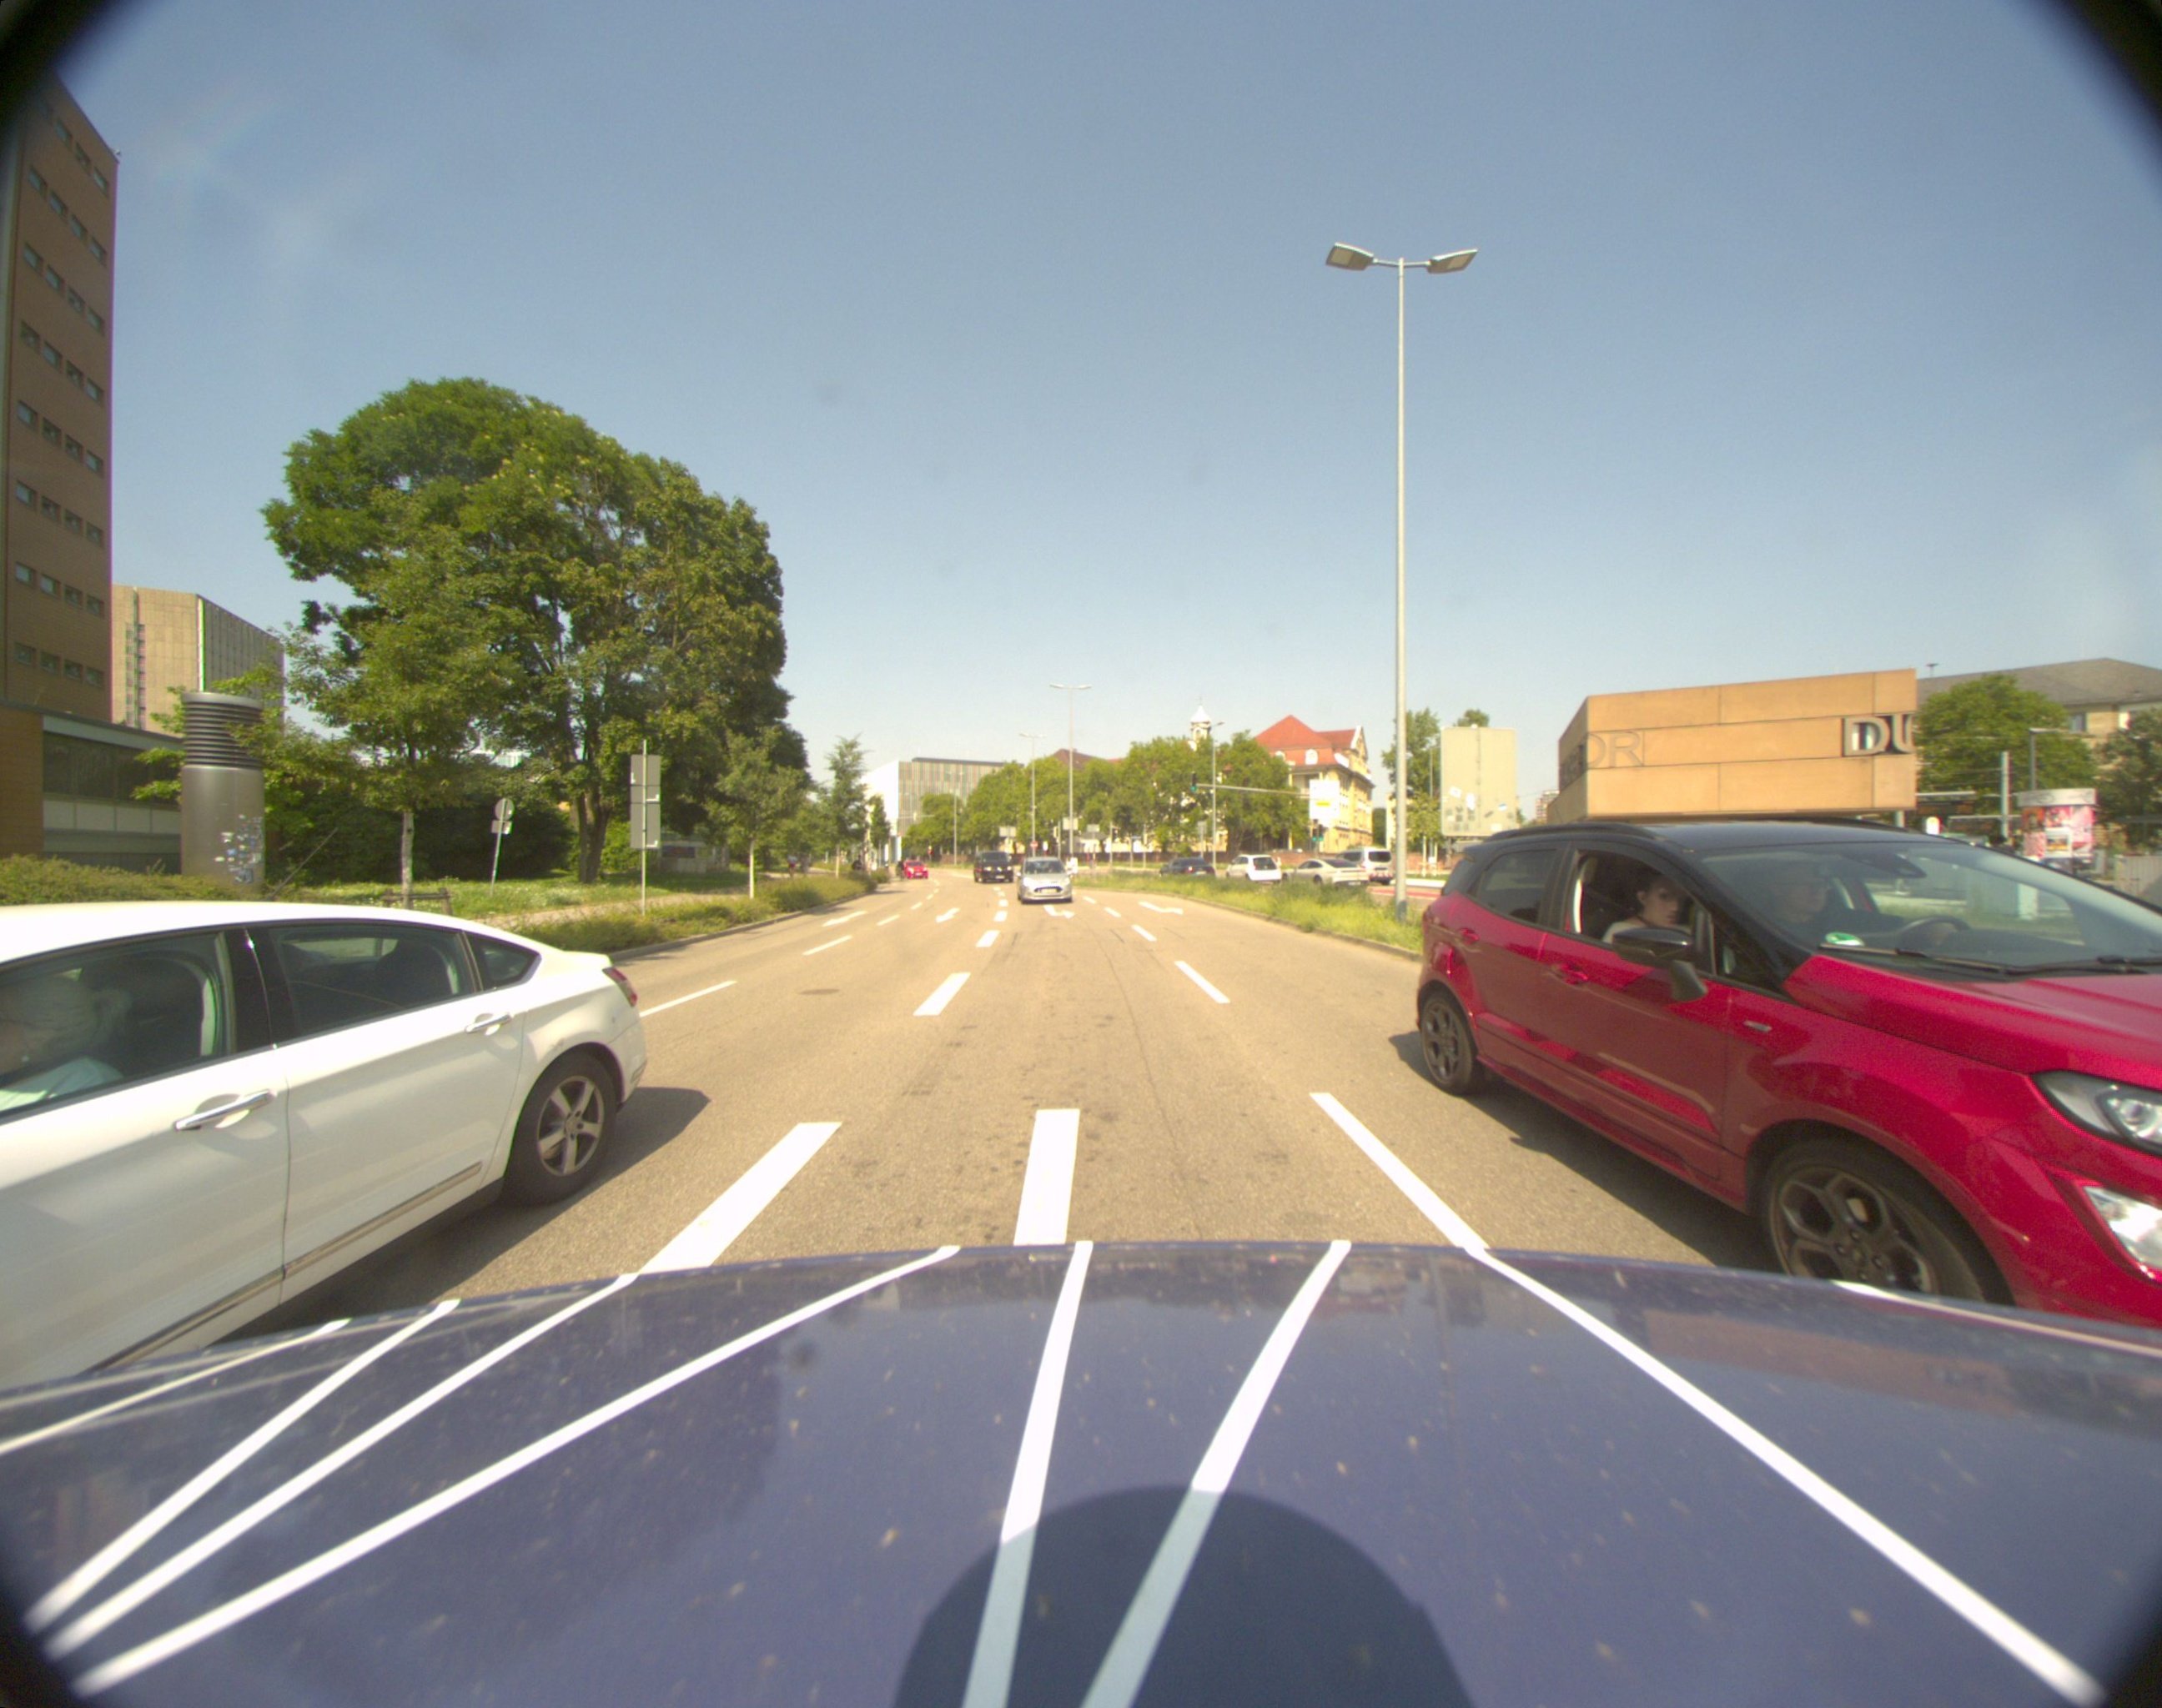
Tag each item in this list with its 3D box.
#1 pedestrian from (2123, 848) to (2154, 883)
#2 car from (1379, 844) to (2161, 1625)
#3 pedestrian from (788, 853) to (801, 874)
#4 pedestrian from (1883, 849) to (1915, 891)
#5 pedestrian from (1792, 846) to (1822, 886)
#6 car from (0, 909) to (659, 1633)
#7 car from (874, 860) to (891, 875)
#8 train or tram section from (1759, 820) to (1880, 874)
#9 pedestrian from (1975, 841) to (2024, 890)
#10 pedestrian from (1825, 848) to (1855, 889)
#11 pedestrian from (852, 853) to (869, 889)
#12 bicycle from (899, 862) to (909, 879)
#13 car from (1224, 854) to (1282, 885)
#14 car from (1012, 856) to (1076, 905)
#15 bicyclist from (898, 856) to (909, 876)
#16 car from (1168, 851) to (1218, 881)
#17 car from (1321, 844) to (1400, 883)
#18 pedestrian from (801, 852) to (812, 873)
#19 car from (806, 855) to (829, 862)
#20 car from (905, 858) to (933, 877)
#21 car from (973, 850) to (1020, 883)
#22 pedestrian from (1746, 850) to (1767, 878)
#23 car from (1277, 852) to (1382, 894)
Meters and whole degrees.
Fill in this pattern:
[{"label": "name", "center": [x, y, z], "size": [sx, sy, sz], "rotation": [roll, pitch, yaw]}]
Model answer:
[{"label": "pedestrian", "center": [43.140, 0.458, 30.993], "size": [0.554, 1.386, 0.534], "rotation": [0, 1, 28]}, {"label": "car", "center": [2.953, 0.779, 3.475], "size": [1.694, 1.577, 3.845], "rotation": [-2, 0, 1]}, {"label": "pedestrian", "center": [-17.562, 0.572, 46.550], "size": [0.635, 1.291, 0.486], "rotation": [-3, 1, -17]}, {"label": "pedestrian", "center": [28.785, 0.557, 26.735], "size": [0.539, 1.488, 0.541], "rotation": [0, 1, -1]}, {"label": "pedestrian", "center": [26.697, 0.436, 27.945], "size": [0.539, 1.488, 0.541], "rotation": [0, 1, -1]}, {"label": "car", "center": [-3.282, 1.021, 1.886], "size": [1.773, 1.420, 4.610], "rotation": [0, 0, 2]}, {"label": "car", "center": [-22.634, 1.530, 86.462], "size": [1.812, 1.652, 3.994], "rotation": [0, 0, -15]}, {"label": "train or tram section", "center": [52.529, -0.432, 54.600], "size": [2.698, 3.418, 13.446], "rotation": [0, 0, 28]}, {"label": "pedestrian", "center": [28.388, 0.344, 23.492], "size": [0.771, 1.488, 0.606], "rotation": [0, 1, -1]}, {"label": "pedestrian", "center": [27.898, 0.531, 27.930], "size": [0.539, 1.488, 0.541], "rotation": [0, 1, -1]}, {"label": "pedestrian", "center": [-11.843, 0.914, 40.834], "size": [0.823, 1.892, 0.630], "rotation": [-1, 1, -12]}, {"label": "bicycle", "center": [-12.612, 1.134, 54.030], "size": [0.595, 1.162, 2.232], "rotation": [-1, 0, -15]}, {"label": "car", "center": [8.675, 0.753, 38.580], "size": [1.527, 1.470, 3.473], "rotation": [0, 0, -13]}, {"label": "car", "center": [-1.413, 0.860, 26.984], "size": [1.660, 1.521, 4.529], "rotation": [-2, 0, -10]}, {"label": "bicyclist", "center": [-12.585, 0.821, 53.948], "size": [0.680, 1.392, 1.048], "rotation": [-1, 1, -16]}, {"label": "car", "center": [5.543, 0.553, 37.965], "size": [1.526, 1.417, 3.474], "rotation": [0, 0, -8]}, {"label": "car", "center": [13.696, 0.420, 37.431], "size": [1.869, 1.843, 3.911], "rotation": [0, 1, -11]}, {"label": "pedestrian", "center": [-16.845, 0.528, 46.684], "size": [0.577, 1.291, 0.437], "rotation": [-3, 1, -18]}, {"label": "car", "center": [-57.169, 1.021, 164.715], "size": [4.429, 1.380, 1.767], "rotation": [-2, 0, -36]}, {"label": "car", "center": [-12.876, 1.025, 60.325], "size": [1.652, 1.422, 3.809], "rotation": [-2, 0, -20]}, {"label": "car", "center": [-5.288, 0.735, 46.914], "size": [1.893, 1.908, 4.526], "rotation": [-2, 0, -19]}, {"label": "pedestrian", "center": [26.847, 0.383, 30.208], "size": [0.538, 1.093, 0.543], "rotation": [0, 1, 32]}, {"label": "car", "center": [10.033, 0.729, 31.125], "size": [2.001, 1.576, 4.710], "rotation": [0, 0, -12]}]
